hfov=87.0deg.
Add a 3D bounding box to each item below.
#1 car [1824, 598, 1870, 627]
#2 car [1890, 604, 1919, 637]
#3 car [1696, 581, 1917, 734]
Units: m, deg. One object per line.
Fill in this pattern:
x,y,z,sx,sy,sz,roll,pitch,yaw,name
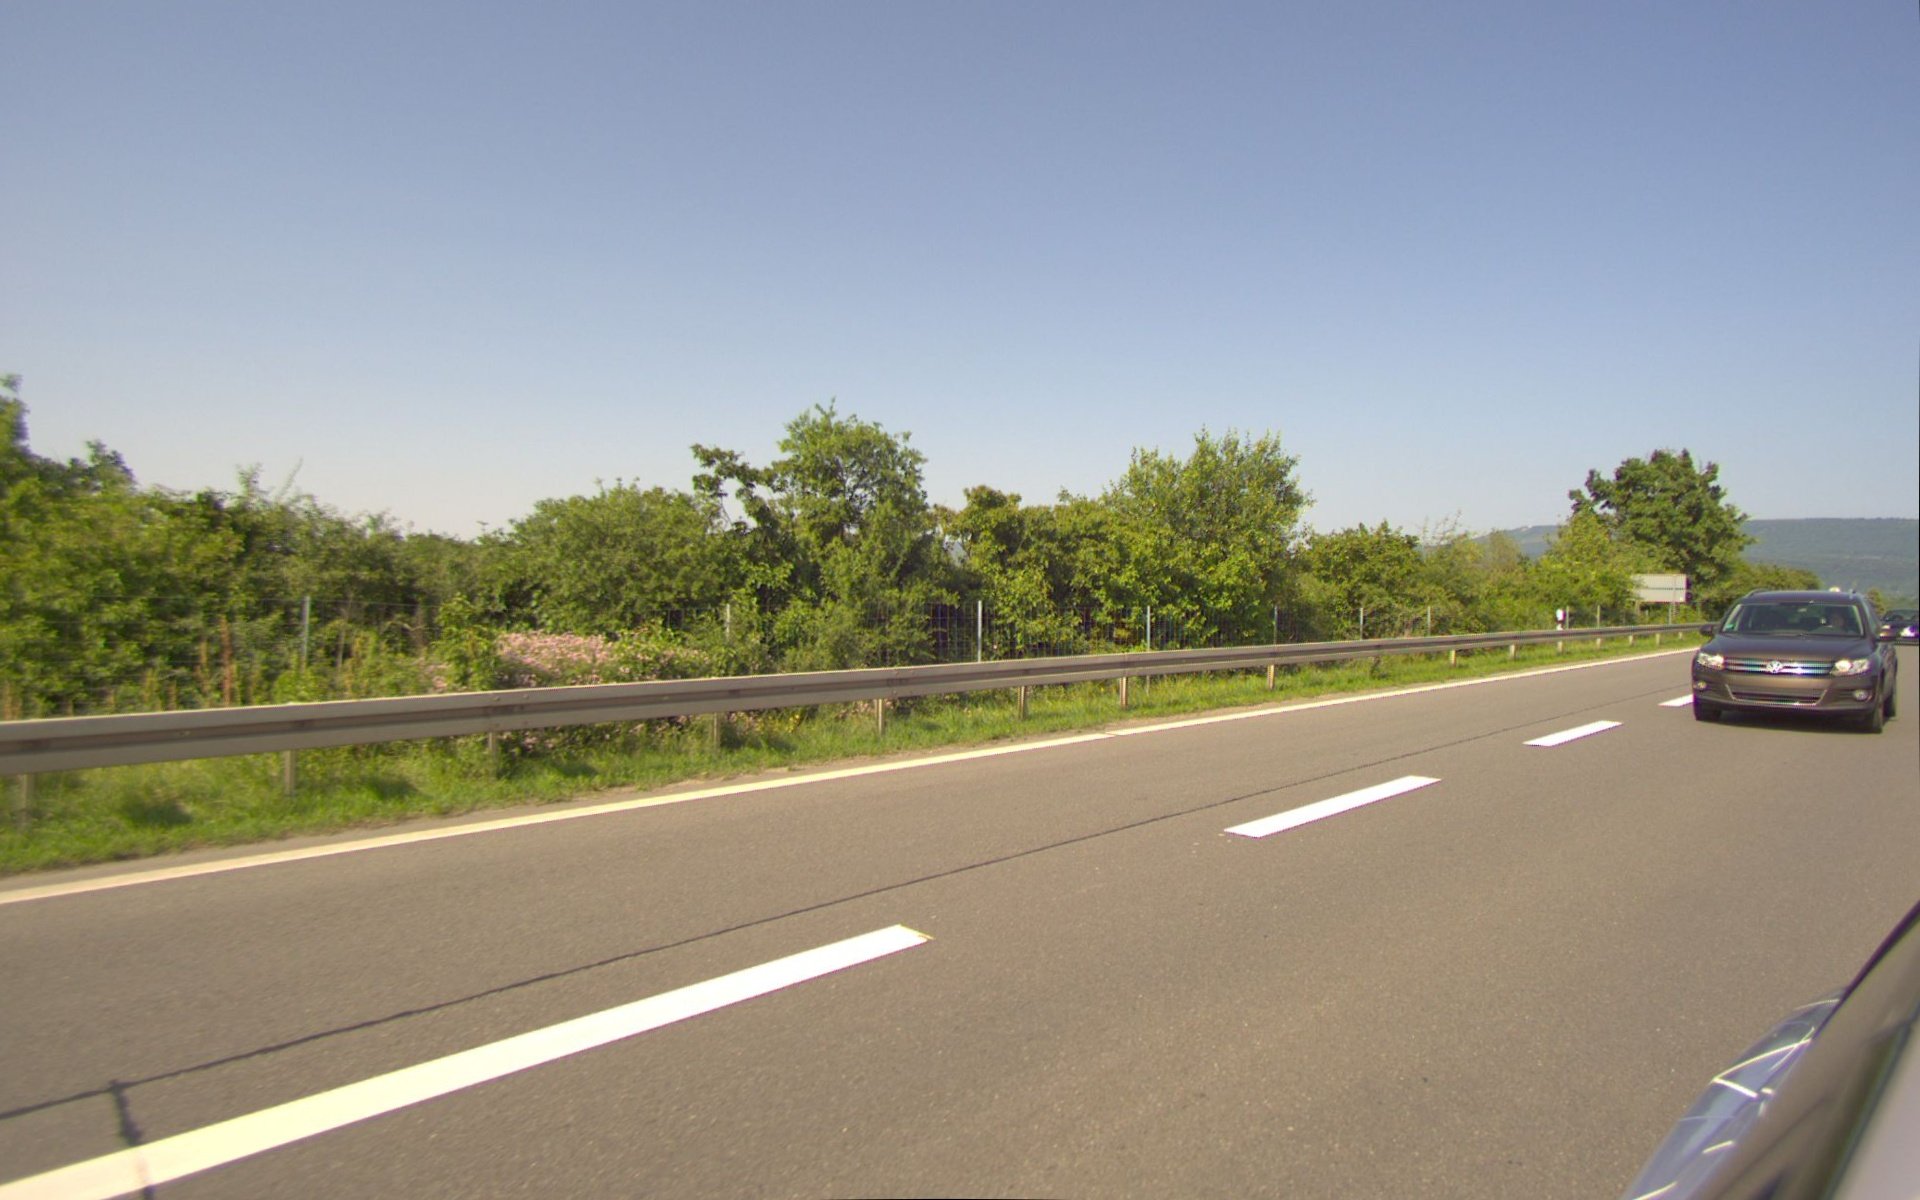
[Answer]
52.961,0.741,60.492,1.855,1.687,3.944,0,0,38,car
38.224,0.804,40.248,3.934,1.264,1.597,0,0,-44,car
11.056,0.617,13.116,4.079,1.667,1.787,0,0,-44,car
